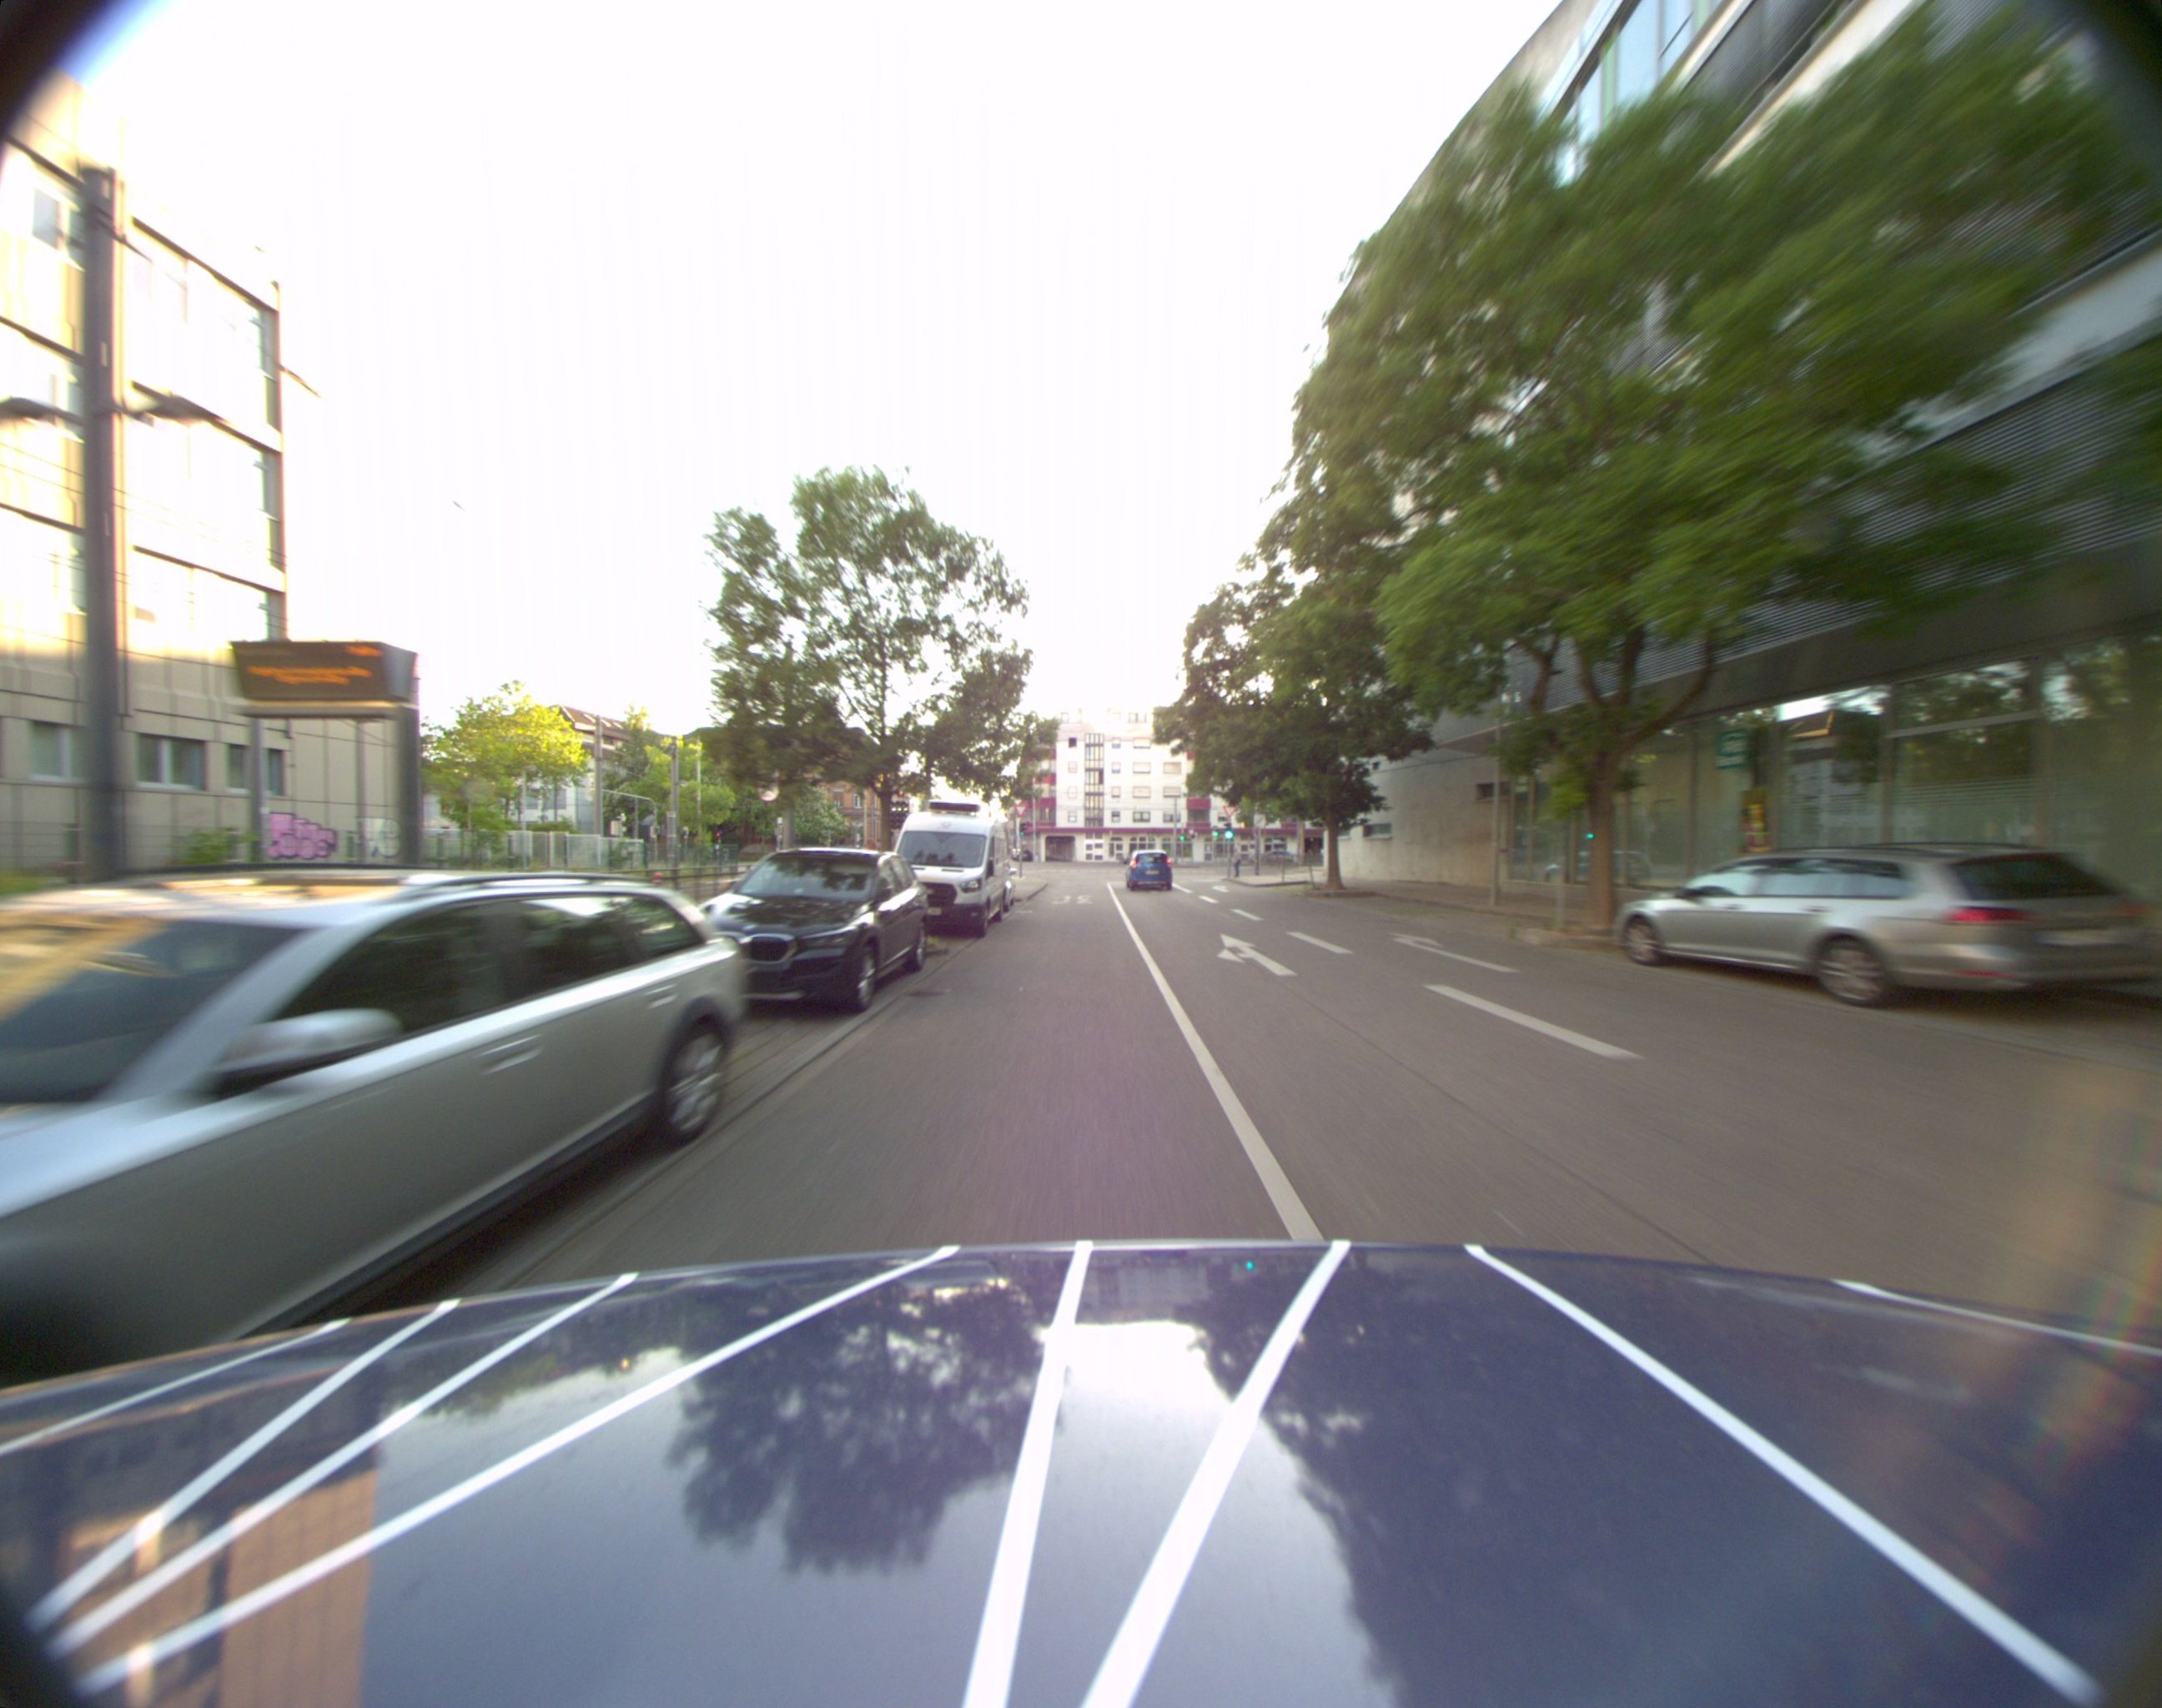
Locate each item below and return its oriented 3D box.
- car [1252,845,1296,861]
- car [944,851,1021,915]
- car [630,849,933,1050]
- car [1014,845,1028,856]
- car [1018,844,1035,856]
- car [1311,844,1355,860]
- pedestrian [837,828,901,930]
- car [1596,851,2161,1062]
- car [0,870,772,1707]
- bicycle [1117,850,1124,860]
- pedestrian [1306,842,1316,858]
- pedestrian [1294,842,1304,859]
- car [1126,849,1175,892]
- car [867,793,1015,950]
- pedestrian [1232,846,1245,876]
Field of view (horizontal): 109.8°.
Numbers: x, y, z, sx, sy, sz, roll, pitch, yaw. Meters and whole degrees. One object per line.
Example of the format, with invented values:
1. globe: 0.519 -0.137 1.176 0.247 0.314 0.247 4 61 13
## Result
1. car: 19.632 -0.090 77.302 4.099 1.587 1.666 0 1 1
2. car: -2.733 0.752 21.936 1.752 1.574 4.011 3 1 -2
3. car: -2.960 0.798 8.584 1.712 1.634 4.266 2 1 0
4. car: -8.217 -0.502 104.244 1.786 1.449 4.294 0 1 -5
5. car: -6.599 -0.479 92.290 2.007 1.449 4.295 0 1 -4
6. car: 26.746 -0.222 80.597 4.099 1.587 1.666 0 1 1
7. pedestrian: -4.325 0.482 15.540 0.981 2.002 0.805 -1 2 -44
8. car: 7.806 0.753 7.931 1.707 1.453 4.626 -3 1 1
9. car: -2.988 0.918 2.487 1.800 1.487 4.780 3 1 2
10. bicycle: 4.278 0.097 82.468 0.515 1.040 1.902 0 1 -2
11. pedestrian: 25.267 -0.419 83.541 0.835 1.796 0.692 0 1 2
12. pedestrian: 23.880 -0.394 83.188 0.835 1.796 0.692 0 1 2
13. car: 2.872 0.629 32.179 1.752 1.668 4.273 -1 1 1
14. car: -2.682 0.278 16.028 2.056 2.642 5.433 3 1 -1
15. pedestrian: 9.018 0.376 43.392 0.545 1.691 0.709 1 1 28
